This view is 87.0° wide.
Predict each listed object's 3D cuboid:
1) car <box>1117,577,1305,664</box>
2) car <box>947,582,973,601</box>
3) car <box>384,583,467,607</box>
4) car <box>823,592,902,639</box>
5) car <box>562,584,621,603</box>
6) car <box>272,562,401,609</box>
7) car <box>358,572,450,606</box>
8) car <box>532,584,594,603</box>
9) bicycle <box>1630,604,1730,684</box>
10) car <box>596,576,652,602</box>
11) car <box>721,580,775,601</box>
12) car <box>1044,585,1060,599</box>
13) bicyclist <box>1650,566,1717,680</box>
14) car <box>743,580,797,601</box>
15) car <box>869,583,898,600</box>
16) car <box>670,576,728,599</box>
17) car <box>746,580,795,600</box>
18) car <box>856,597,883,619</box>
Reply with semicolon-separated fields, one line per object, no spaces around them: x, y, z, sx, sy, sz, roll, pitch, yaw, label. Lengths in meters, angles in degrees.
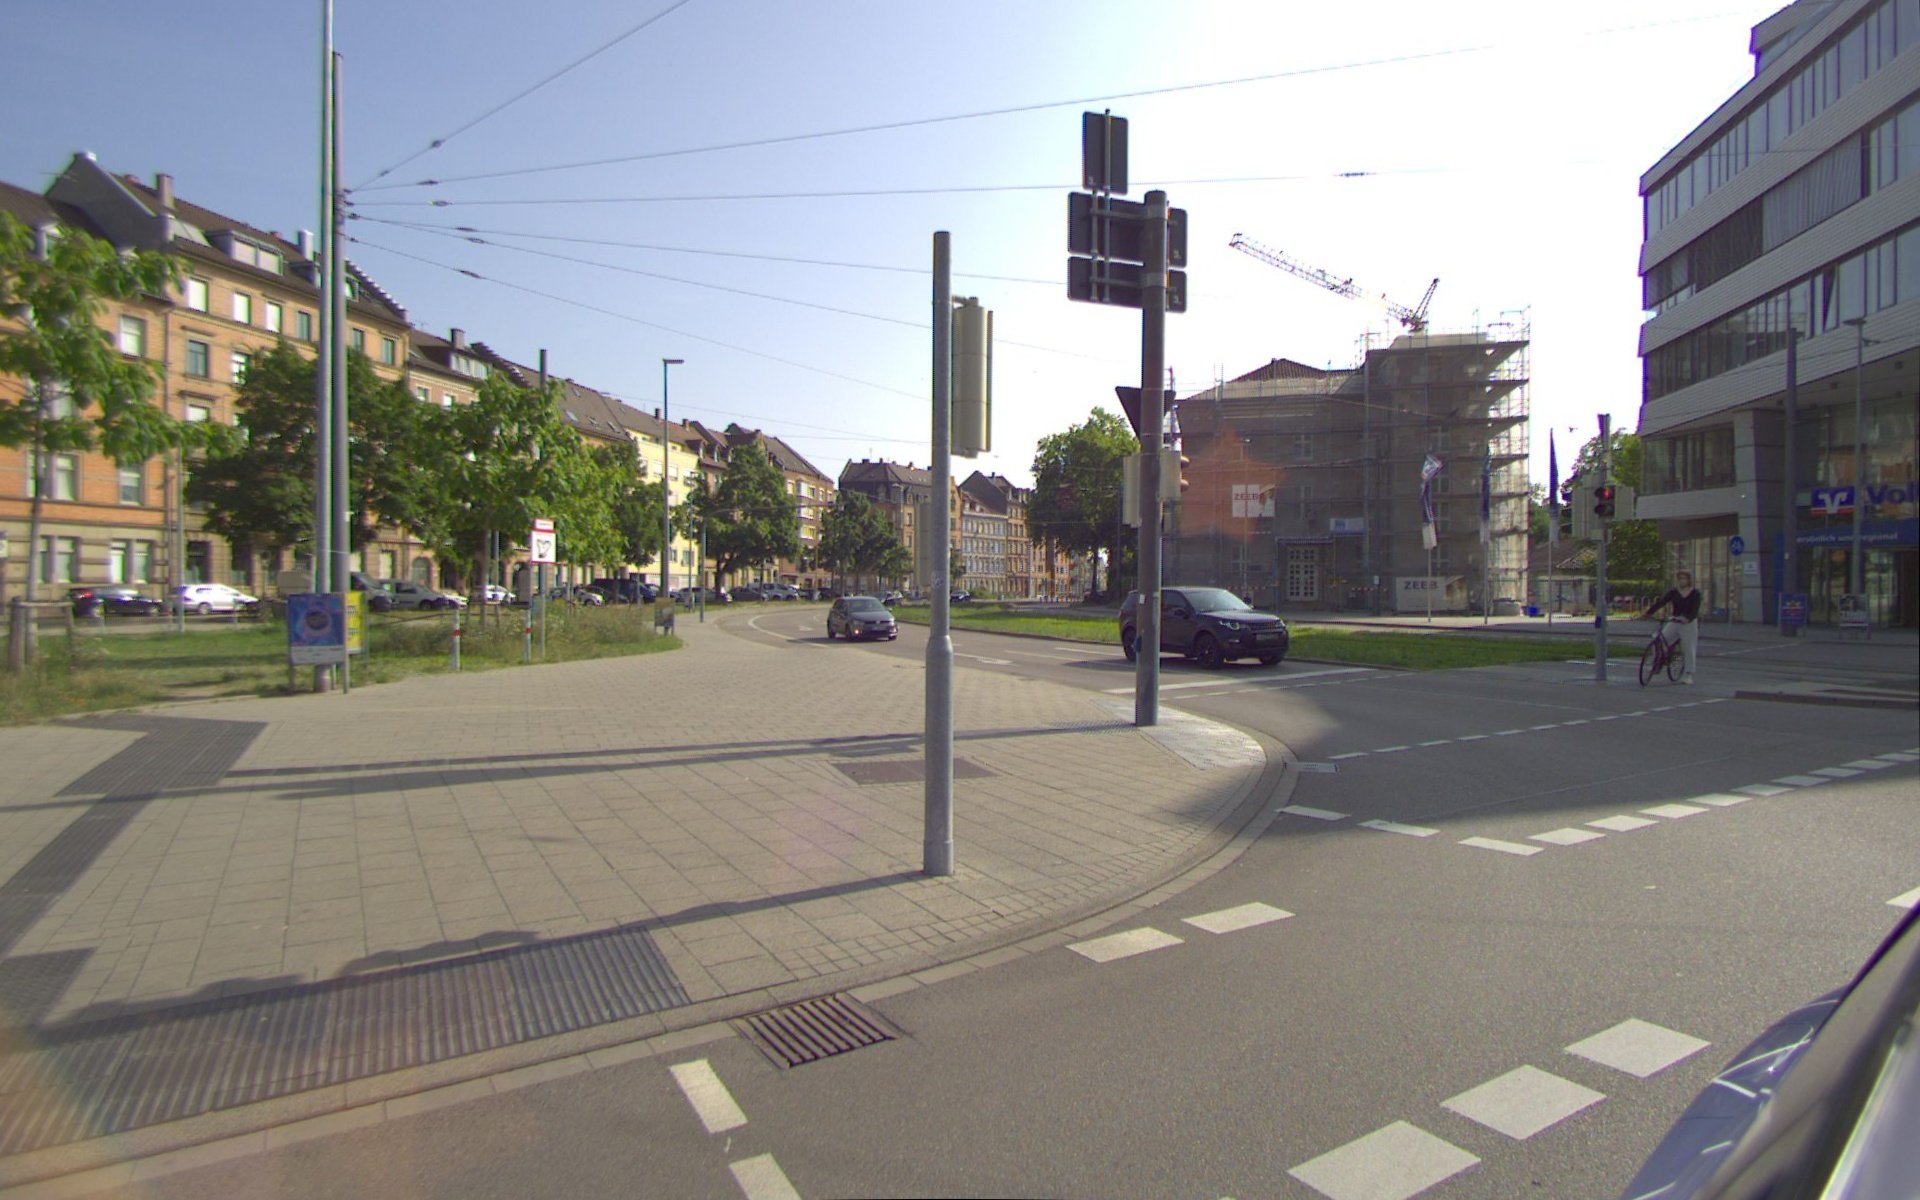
5.330;0.376;22.096;1.765;1.699;4.229;1;0;-24;car
0.027;-0.957;109.814;1.971;2.039;3.983;0;1;14;car
-28.642;-0.286;54.350;3.775;1.265;1.725;0;0;-21;car
-3.344;0.480;34.207;1.610;1.437;3.903;0;1;-22;car
-25.175;-0.445;69.173;3.775;1.265;1.725;0;0;-21;car
-29.984;-0.701;48.812;4.941;2.206;1.884;0;0;-14;car
-28.558;-0.557;52.096;3.901;1.728;1.884;0;0;-21;car
-26.090;-0.425;66.600;3.775;1.265;1.725;0;0;-21;car
11.276;0.658;15.842;1.770;1.112;0.670;-2;2;-33;bicycle
-24.028;-0.799;72.507;3.775;1.828;1.790;0;0;-18;car
-19.046;-0.868;90.924;4.640;1.787;1.725;1;0;-13;car
14.341;-1.235;157.356;1.969;2.003;3.987;-1;2;12;car
11.352;0.340;15.885;0.625;1.724;0.670;-2;1;-33;bicyclist
-18.438;-0.897;97.998;4.824;1.861;1.725;1;0;-25;car
-7.250;-0.822;95.887;1.966;1.580;3.867;-1;0;8;car
-21.829;-1.005;84.802;4.640;1.787;1.725;1;0;-13;car
-17.866;-0.928;95.442;4.327;1.787;1.725;1;0;-21;car
-7.095;0.635;79.768;1.627;1.655;3.997;0;1;3;car
